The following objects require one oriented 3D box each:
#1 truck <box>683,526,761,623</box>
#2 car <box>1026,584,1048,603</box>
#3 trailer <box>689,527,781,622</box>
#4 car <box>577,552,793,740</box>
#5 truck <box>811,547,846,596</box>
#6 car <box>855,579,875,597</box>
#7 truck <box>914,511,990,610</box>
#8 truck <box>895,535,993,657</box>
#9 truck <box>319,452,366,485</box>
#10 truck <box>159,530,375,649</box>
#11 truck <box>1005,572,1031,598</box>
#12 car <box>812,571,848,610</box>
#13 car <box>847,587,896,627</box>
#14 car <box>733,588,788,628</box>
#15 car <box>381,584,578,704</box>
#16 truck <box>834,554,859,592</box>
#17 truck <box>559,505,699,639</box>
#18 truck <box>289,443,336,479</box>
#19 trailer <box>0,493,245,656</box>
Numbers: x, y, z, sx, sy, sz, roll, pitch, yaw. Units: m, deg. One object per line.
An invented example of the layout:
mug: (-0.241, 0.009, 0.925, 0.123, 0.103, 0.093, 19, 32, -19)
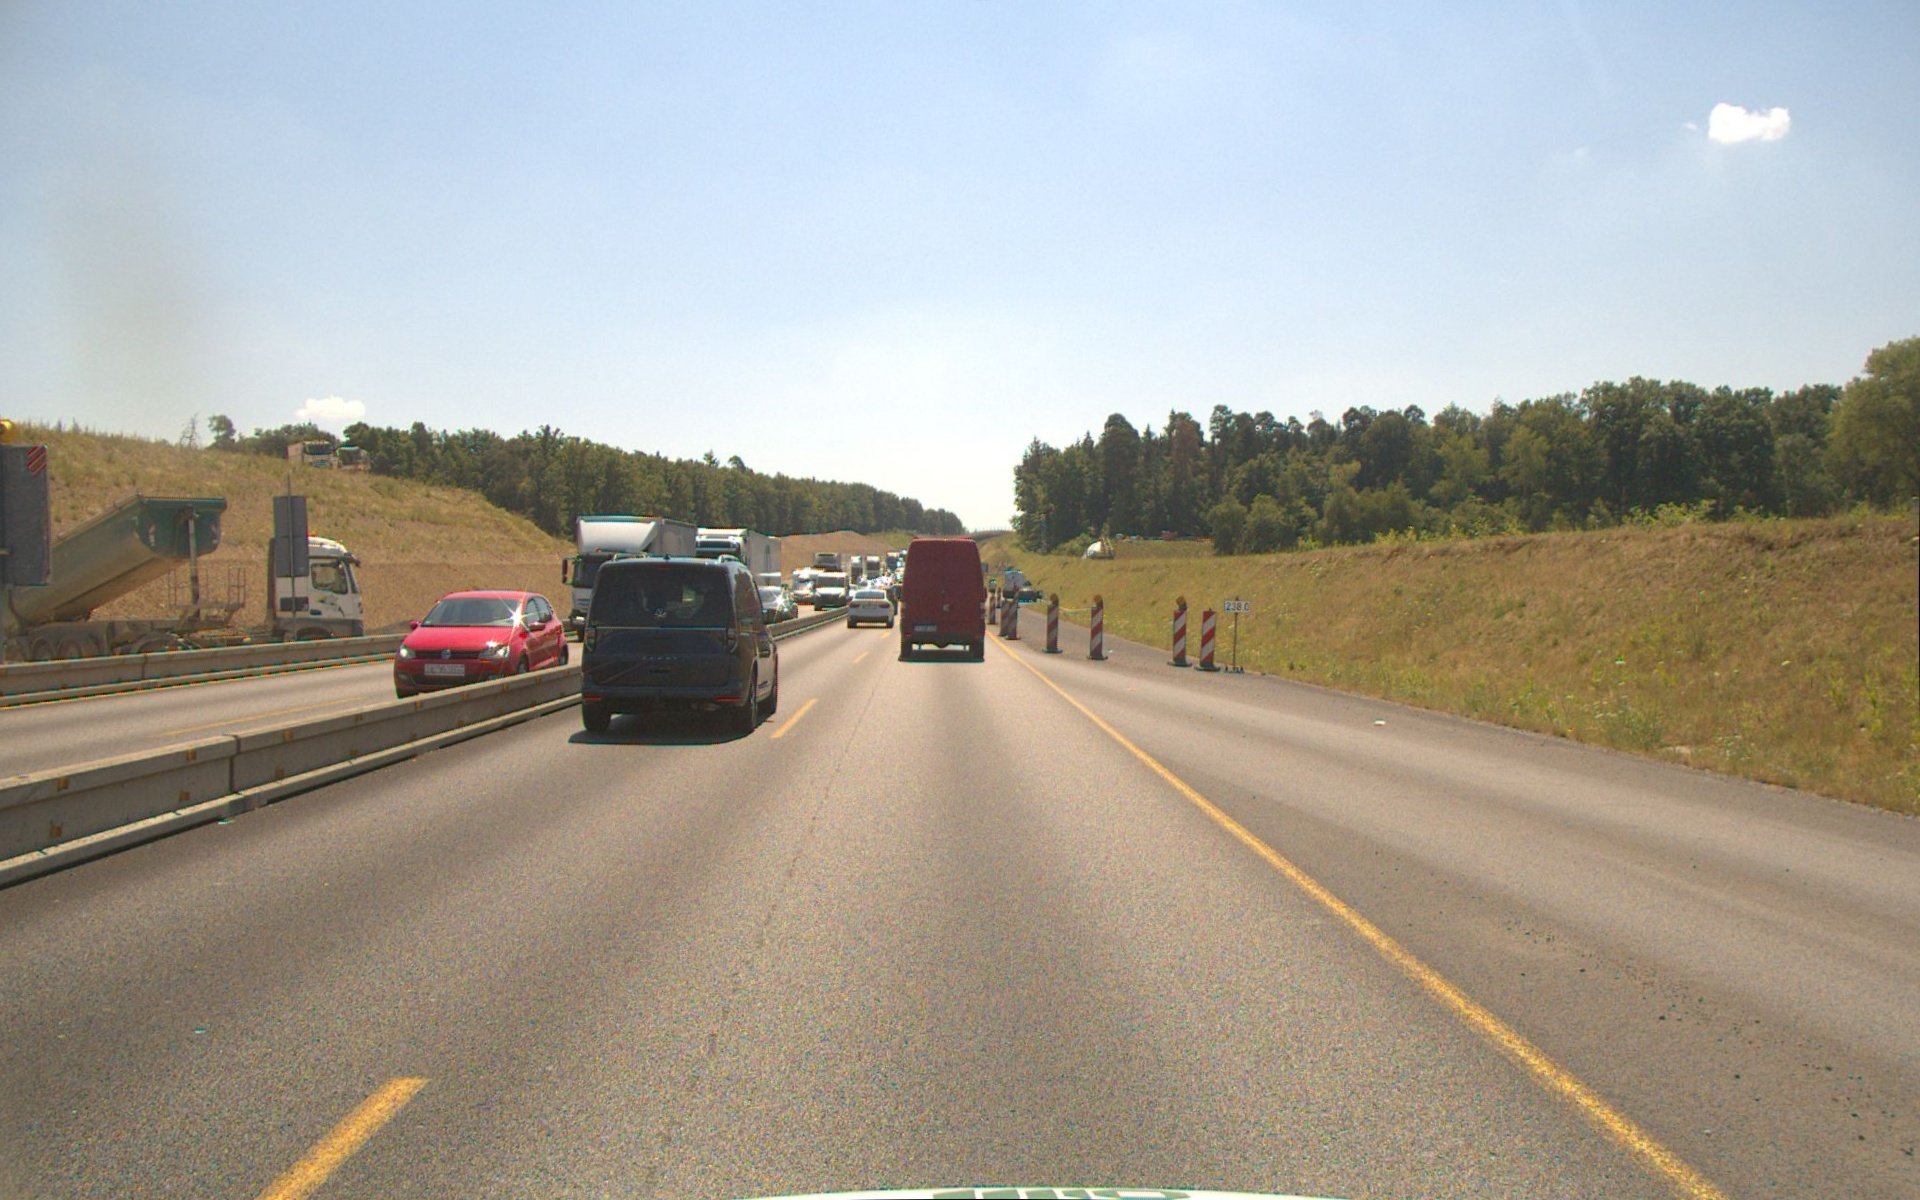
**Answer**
truck: (-10.481, -1.099, 73.153, 2.791, 4.088, 4.858, -1, 0, -1)
car: (6.656, -0.582, 143.439, 1.620, 1.451, 4.545, -2, 1, 0)
trailer: (-10.709, -1.124, 80.116, 2.796, 4.165, 13.649, -1, 0, -1)
car: (-2.999, 0.421, 18.976, 1.716, 1.856, 4.782, 1, 1, -1)
truck: (-11.736, -2.541, 148.213, 2.440, 4.271, 5.913, -1, 0, 1)
car: (-8.858, -1.099, 154.634, 1.654, 1.642, 4.592, 1, 0, -1)
truck: (-0.577, -2.260, 103.406, 4.311, 5.592, 16.600, 1, 0, -1)
truck: (-0.421, -0.085, 38.938, 2.110, 2.635, 5.331, 1, 0, -2)
truck: (-64.328, -13.641, 172.255, 2.277, 2.797, 8.793, 1, 0, -36)
truck: (-18.623, -0.242, 44.496, 4.997, 3.016, 2.559, 1, 0, -32)
truck: (5.701, -1.475, 161.522, 2.084, 2.499, 5.930, 1, 1, 6)
car: (-8.041, -0.608, 102.638, 1.953, 2.332, 5.342, 1, 1, -2)
car: (-3.490, 0.271, 65.897, 1.794, 1.548, 3.960, 1, 0, -1)
car: (-7.775, 0.296, 64.755, 1.820, 1.467, 4.498, 1, 0, -3)
car: (-6.591, 0.562, 23.114, 1.594, 1.510, 4.052, 1, 0, -1)
truck: (-12.858, -3.063, 187.427, 2.539, 4.124, 5.148, 1, 1, -2)
truck: (-10.200, -0.794, 51.964, 2.591, 3.781, 9.480, 1, 0, -1)
truck: (-64.374, -13.752, 164.405, 2.336, 2.949, 8.260, 1, 0, -36)
trailer: (-23.650, -0.693, 45.368, 8.180, 4.170, 2.797, 1, 0, 27)
